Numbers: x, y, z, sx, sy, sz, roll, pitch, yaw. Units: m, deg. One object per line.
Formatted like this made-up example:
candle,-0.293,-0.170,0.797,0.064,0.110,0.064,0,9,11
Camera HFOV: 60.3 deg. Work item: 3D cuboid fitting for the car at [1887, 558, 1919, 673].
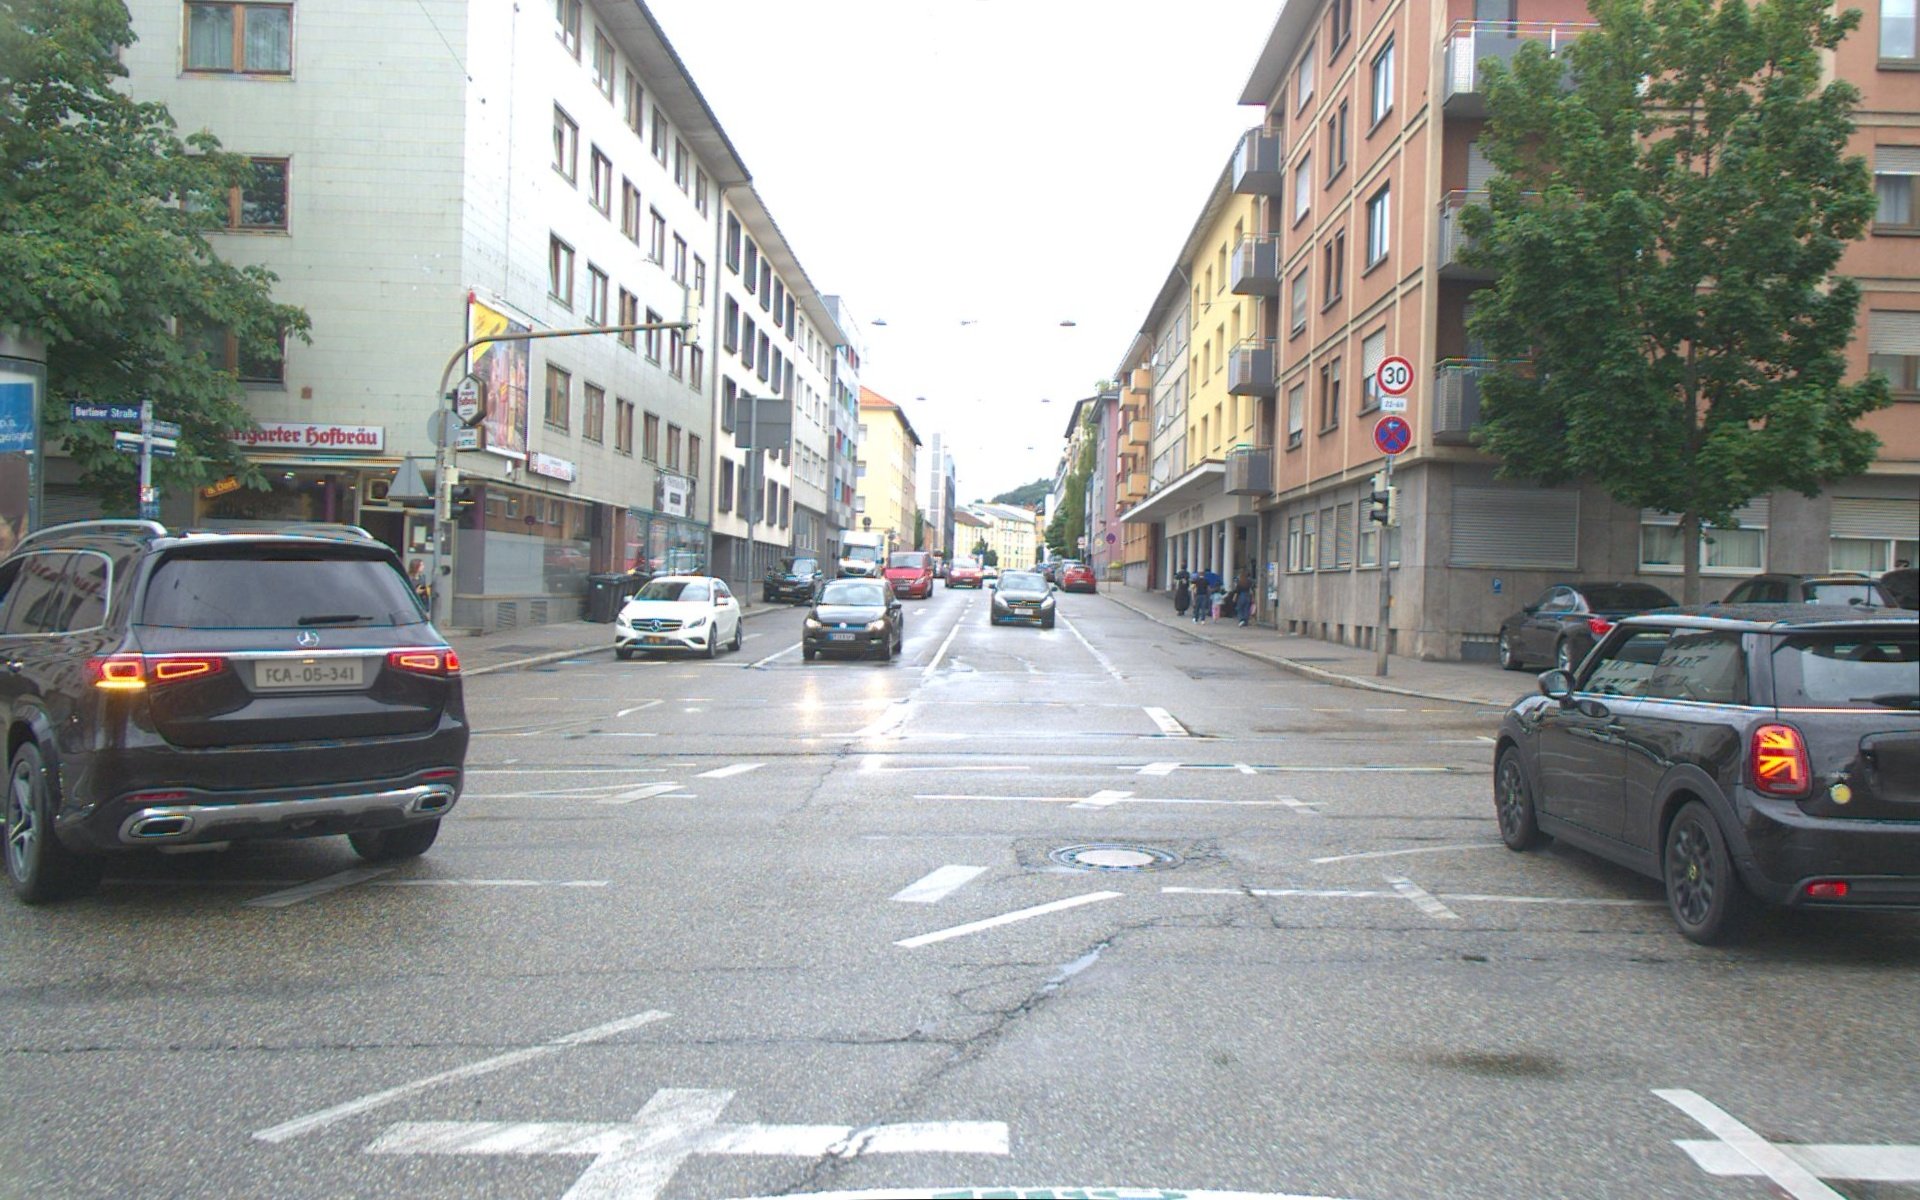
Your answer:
car,15.459,0.232,24.464,1.944,1.749,4.003,0,0,12

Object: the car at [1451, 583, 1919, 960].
car,3.948,0.655,8.535,1.626,1.445,4.072,0,1,0

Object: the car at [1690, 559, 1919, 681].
car,12.768,0.271,25.039,1.944,1.689,4.002,0,0,5

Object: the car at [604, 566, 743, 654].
car,-5.289,0.162,30.976,1.806,1.539,4.001,0,0,1

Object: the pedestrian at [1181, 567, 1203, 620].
pedestrian,7.129,-0.209,50.843,0.509,1.565,0.569,2,3,1

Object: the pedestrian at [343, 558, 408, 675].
pedestrian,-8.736,0.239,24.719,0.702,1.675,0.750,1,3,-35

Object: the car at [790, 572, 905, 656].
car,-2.082,0.239,31.609,1.806,1.515,4.001,0,0,1

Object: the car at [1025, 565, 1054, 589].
car,5.921,-1.685,122.746,1.974,1.590,4.001,2,-1,4

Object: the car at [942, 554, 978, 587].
car,0.019,-1.562,88.624,1.805,1.703,4.001,0,0,2

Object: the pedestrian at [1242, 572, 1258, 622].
pedestrian,8.411,-0.080,48.001,0.356,1.423,0.370,2,3,1

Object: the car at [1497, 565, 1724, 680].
car,9.848,0.305,25.481,1.805,1.581,4.797,0,0,3

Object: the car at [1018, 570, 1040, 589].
car,6.559,-1.976,156.761,1.974,1.590,4.001,2,-1,4

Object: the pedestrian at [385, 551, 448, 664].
pedestrian,-8.390,0.108,25.524,0.702,1.675,0.750,1,3,-35

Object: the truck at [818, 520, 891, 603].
truck,-5.429,-1.911,86.470,2.749,3.899,8.147,2,-1,3

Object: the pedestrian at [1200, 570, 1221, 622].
pedestrian,7.682,-0.114,50.765,0.509,1.545,0.569,2,3,1

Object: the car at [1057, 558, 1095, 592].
car,6.346,-1.349,90.938,1.974,1.590,5.157,2,-1,4

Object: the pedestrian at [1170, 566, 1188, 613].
pedestrian,7.686,-0.374,58.009,0.509,1.583,0.569,2,3,1

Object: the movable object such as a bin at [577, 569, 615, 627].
movable object such as a bin,-8.696,-0.032,39.520,0.683,1.338,0.782,2,-1,0

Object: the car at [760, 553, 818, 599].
car,-6.363,-0.869,61.800,1.688,1.631,4.000,0,0,0

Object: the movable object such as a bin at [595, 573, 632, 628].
movable object such as a bin,-8.663,0.027,41.384,0.683,1.338,0.782,2,-1,0

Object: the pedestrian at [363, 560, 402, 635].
pedestrian,-11.266,-0.039,32.273,0.508,1.424,0.578,2,-1,-2

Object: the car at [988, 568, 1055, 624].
car,1.722,-0.111,46.903,1.806,1.515,4.001,0,0,1

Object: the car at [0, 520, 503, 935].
car,-4.584,0.525,9.500,2.009,1.770,4.677,-1,1,-41

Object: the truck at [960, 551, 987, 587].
truck,1.694,-3.710,200.582,2.749,3.899,8.147,2,-1,3

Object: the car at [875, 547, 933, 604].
car,-2.279,-0.965,68.634,2.022,2.280,4.621,0,0,2

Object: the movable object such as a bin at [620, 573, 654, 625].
movable object such as a bin,-8.601,-0.020,44.099,0.683,1.338,0.782,2,-1,0

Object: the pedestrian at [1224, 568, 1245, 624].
pedestrian,7.967,-0.115,48.007,0.469,1.593,0.558,2,3,1
